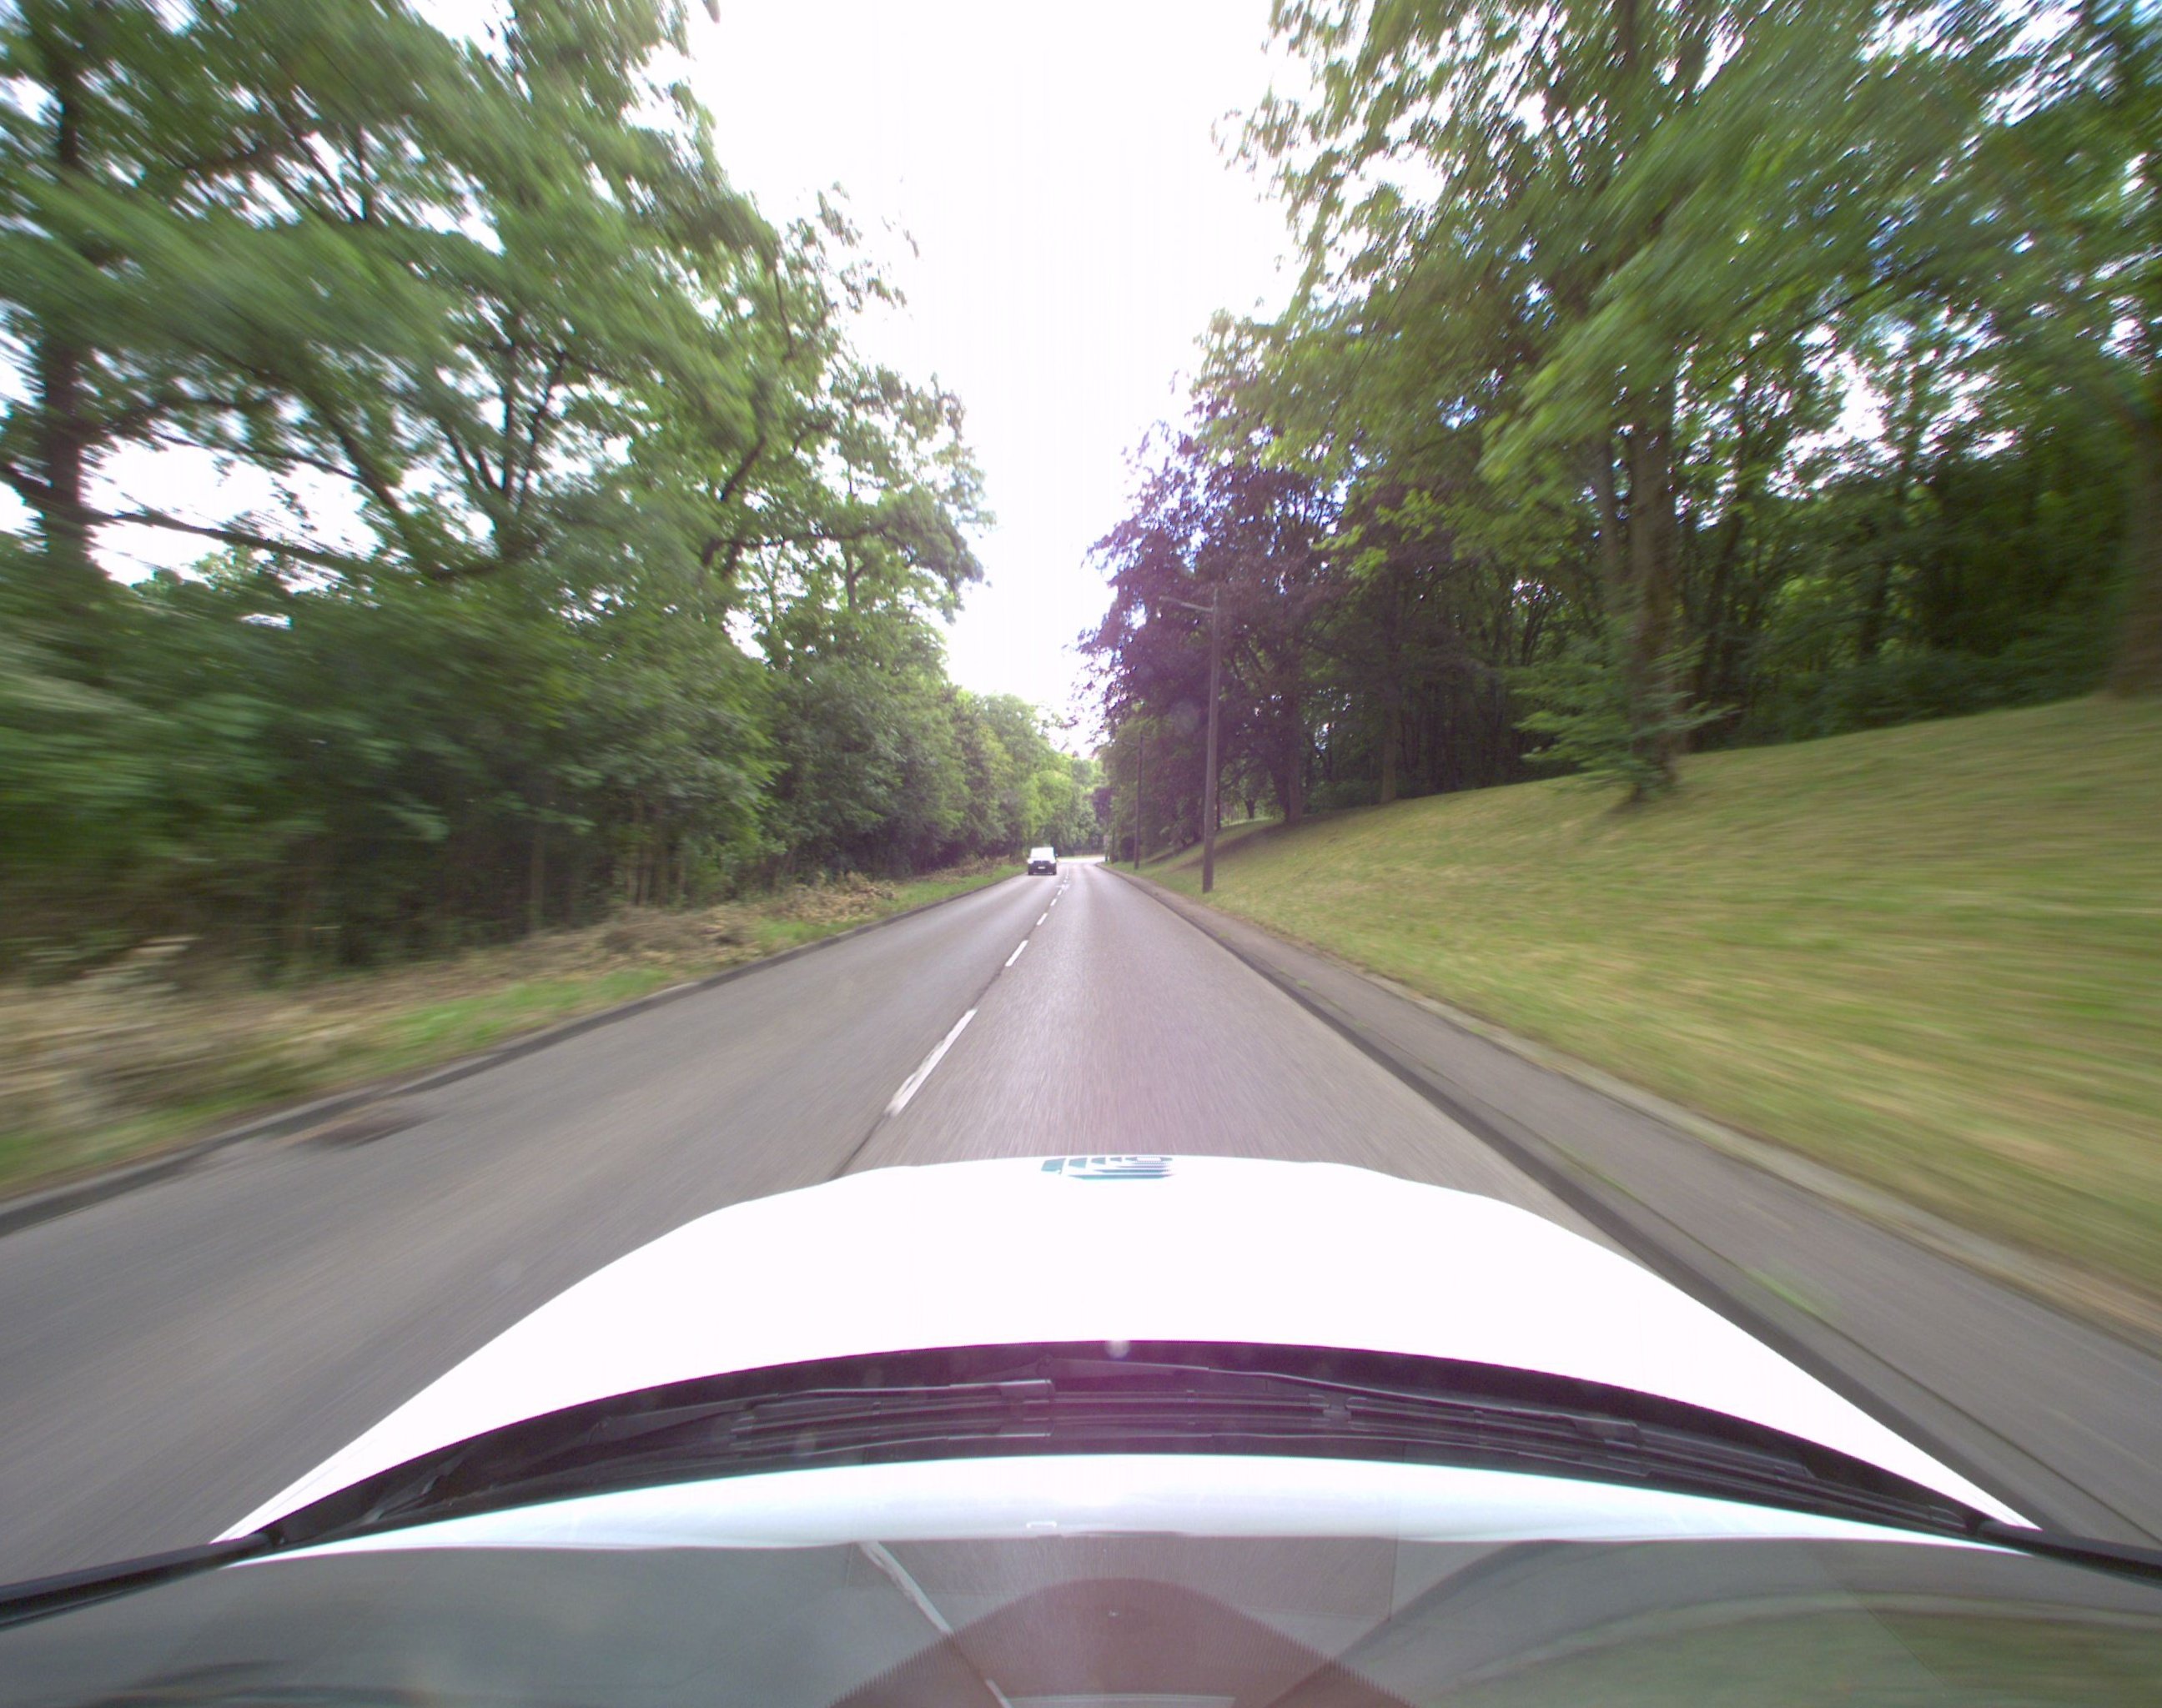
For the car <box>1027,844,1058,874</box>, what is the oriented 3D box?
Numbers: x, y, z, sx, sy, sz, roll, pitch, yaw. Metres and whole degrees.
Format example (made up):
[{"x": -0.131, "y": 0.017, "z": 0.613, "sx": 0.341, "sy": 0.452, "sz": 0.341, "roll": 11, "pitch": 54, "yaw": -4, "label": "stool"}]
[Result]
[{"x": -2.625, "y": 0.340, "z": 56.364, "sx": 1.988, "sy": 1.948, "sz": 4.942, "roll": 0, "pitch": 0, "yaw": -1, "label": "car"}]
